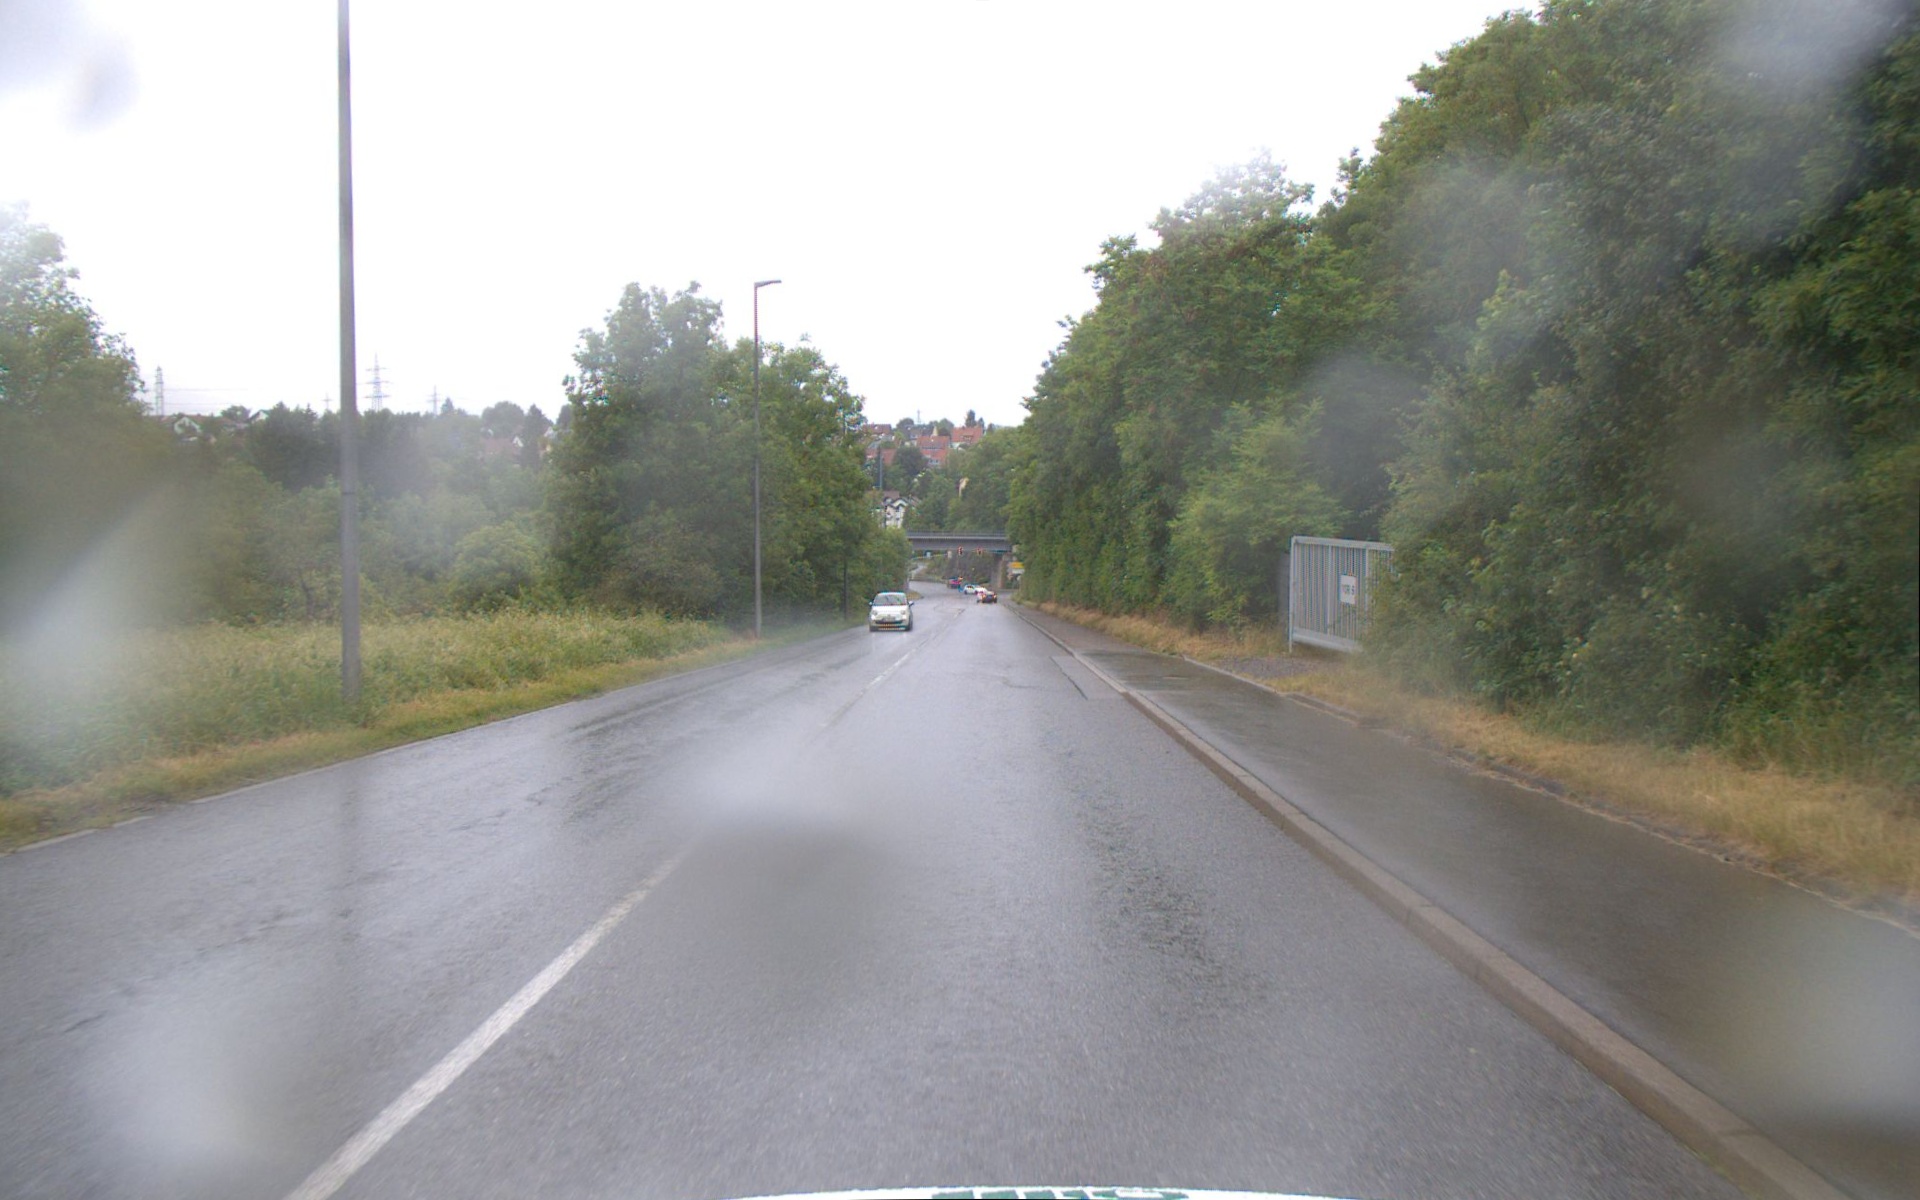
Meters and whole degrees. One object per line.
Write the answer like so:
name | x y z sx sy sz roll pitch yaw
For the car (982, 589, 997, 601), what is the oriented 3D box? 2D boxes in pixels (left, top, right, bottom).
car | 3.511 -0.605 197.732 1.731 1.404 4.001 -2 0 1

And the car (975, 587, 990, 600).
car | 2.770 -0.779 204.339 1.731 1.590 4.001 -2 0 1

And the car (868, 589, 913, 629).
car | -2.741 0.350 65.497 1.605 1.514 3.454 -2 0 0
